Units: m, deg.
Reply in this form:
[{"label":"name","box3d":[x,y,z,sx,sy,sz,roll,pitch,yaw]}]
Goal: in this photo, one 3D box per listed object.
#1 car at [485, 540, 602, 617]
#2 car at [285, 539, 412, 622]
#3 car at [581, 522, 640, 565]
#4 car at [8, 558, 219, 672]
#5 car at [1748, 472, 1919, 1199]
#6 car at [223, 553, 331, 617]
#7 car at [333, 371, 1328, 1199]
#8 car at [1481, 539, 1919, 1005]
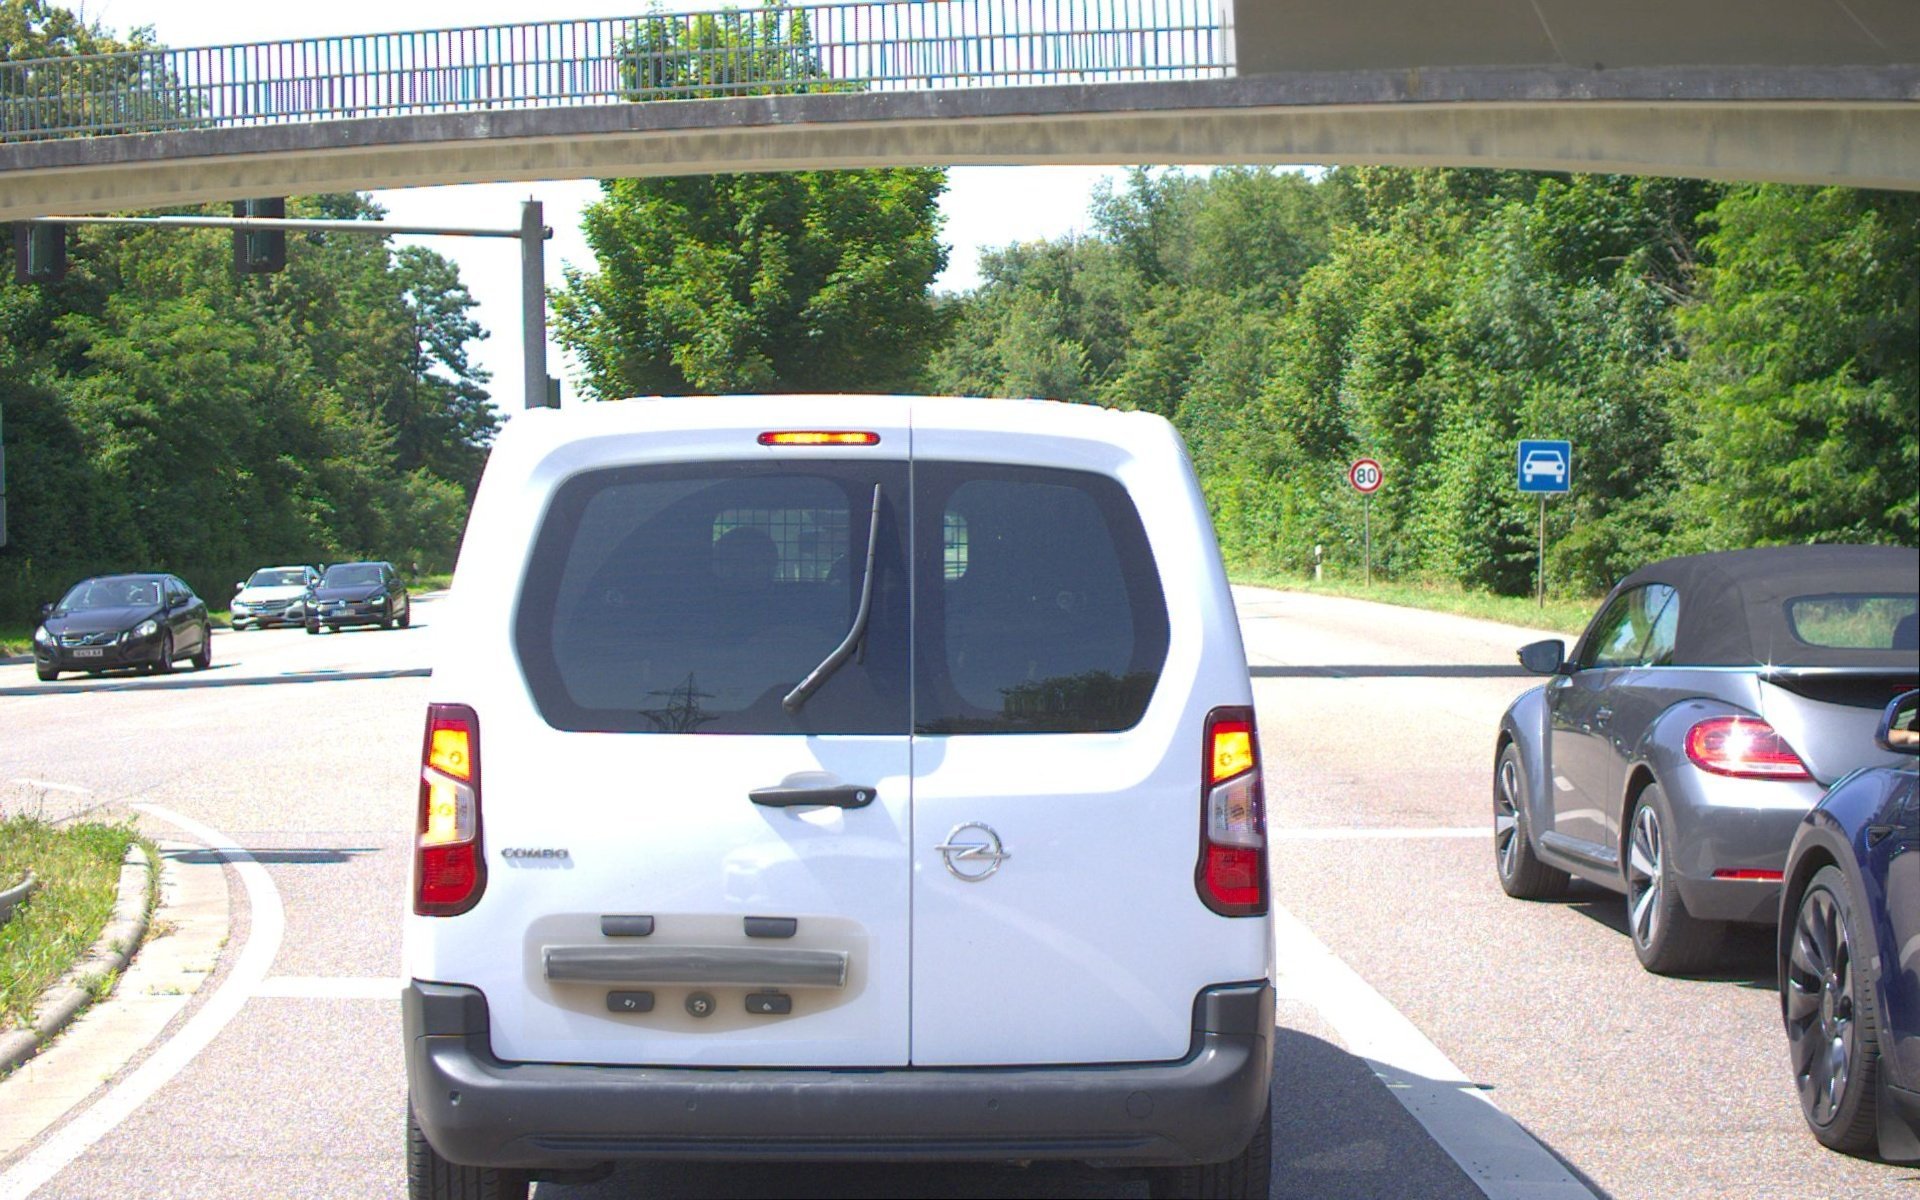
[{"label":"car","box3d":[-8.794,-0.476,72.935,1.993,1.518,4.028,2,1,-1]},{"label":"car","box3d":[-13.038,-0.444,73.494,1.993,1.659,4.000,-1,1,-1]},{"label":"car","box3d":[-14.180,-2.292,139.586,1.993,1.659,4.000,-1,1,-1]},{"label":"car","box3d":[-12.002,0.182,48.993,2.008,1.455,4.055,-2,1,-1]},{"label":"car","box3d":[3.060,0.566,6.783,1.900,1.639,4.520,1,1,-1]},{"label":"car","box3d":[-16.055,-0.369,80.967,1.752,1.402,4.000,-1,1,-1]},{"label":"car","box3d":[-0.297,0.430,8.445,1.849,1.819,3.982,1,2,-2]},{"label":"car","box3d":[3.251,0.523,12.987,1.900,1.472,3.939,1,1,-1]}]
